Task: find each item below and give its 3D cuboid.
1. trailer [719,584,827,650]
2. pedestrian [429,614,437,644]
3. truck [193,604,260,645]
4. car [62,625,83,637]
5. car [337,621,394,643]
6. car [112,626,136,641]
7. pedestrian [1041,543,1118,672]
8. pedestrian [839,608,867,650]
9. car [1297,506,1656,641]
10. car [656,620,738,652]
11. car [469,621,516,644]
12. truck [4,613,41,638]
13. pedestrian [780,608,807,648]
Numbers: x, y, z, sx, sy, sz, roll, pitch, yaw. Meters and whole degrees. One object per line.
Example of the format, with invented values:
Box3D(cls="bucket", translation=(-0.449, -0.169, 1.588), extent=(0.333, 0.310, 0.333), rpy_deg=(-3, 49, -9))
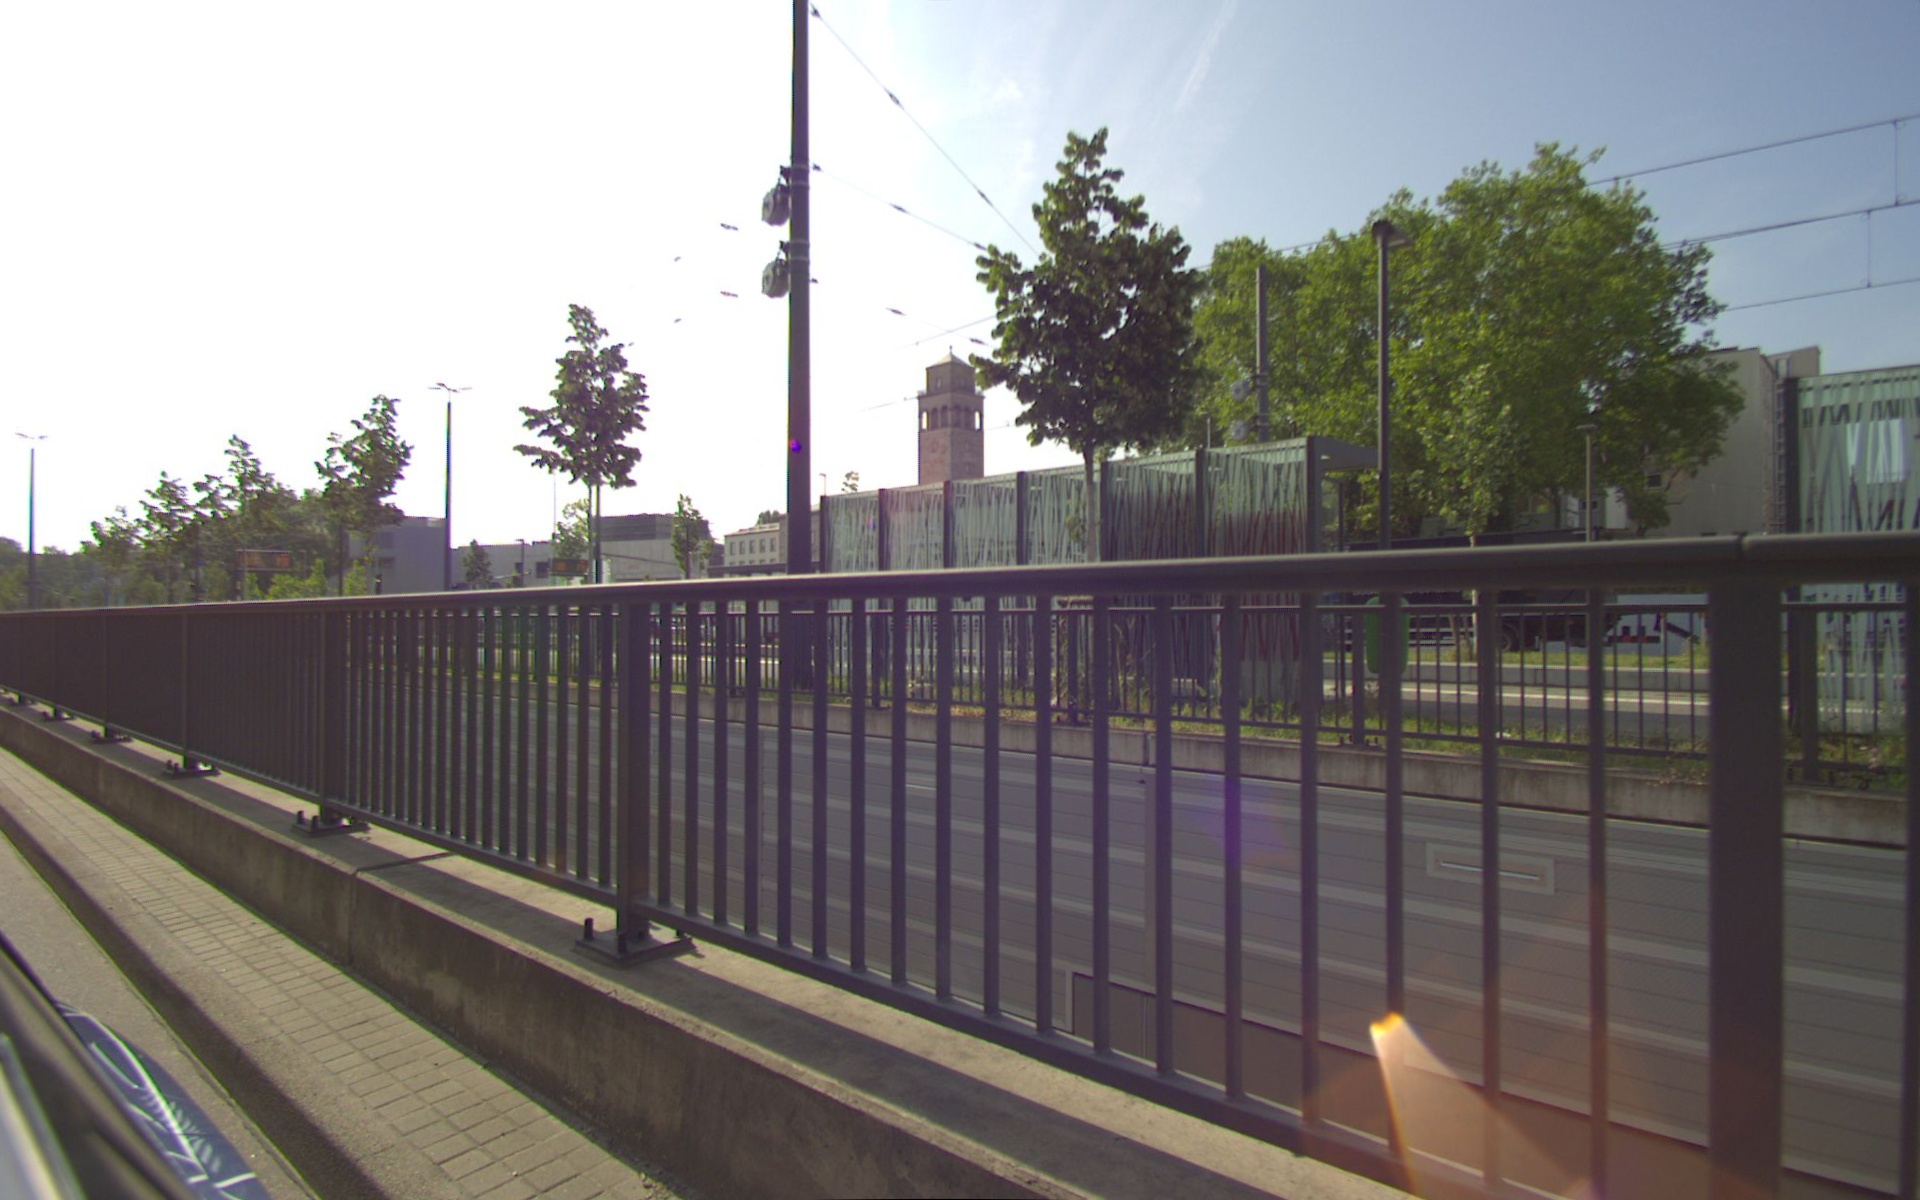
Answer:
Box3D(cls="trailer", translation=(-8.444, 0.760, 45.498), extent=(5.019, 2.802, 2.024), rpy_deg=(-1, 0, 41))
Box3D(cls="pedestrian", translation=(-29.715, 1.652, 57.072), extent=(0.365, 1.689, 0.642), rpy_deg=(0, -1, -32))
Box3D(cls="truck", translation=(-67.527, 2.281, 93.092), extent=(8.885, 3.614, 2.990), rpy_deg=(-2, -2, 41))
Box3D(cls="car", translation=(-123.786, 4.309, 141.164), extent=(3.996, 1.614, 1.623), rpy_deg=(-2, -2, 40))
Box3D(cls="car", translation=(-44.593, 2.362, 75.926), extent=(4.601, 1.594, 1.778), rpy_deg=(-1, -1, 32))
Box3D(cls="car", translation=(-101.963, 4.109, 123.482), extent=(4.517, 1.802, 1.598), rpy_deg=(-2, -2, 42))
Box3D(cls="pedestrian", translation=(1.574, 0.100, 13.355), extent=(0.710, 1.631, 0.728), rpy_deg=(-1, -1, 40))
Box3D(cls="pedestrian", translation=(-3.417, 0.925, 32.280), extent=(0.591, 1.310, 0.674), rpy_deg=(-2, -2, 38))
Box3D(cls="car", translation=(15.312, -0.619, 30.653), extent=(9.228, 3.539, 3.023), rpy_deg=(-1, -1, 41))
Box3D(cls="car", translation=(-12.810, 1.725, 49.114), extent=(4.400, 1.481, 1.626), rpy_deg=(-2, -2, 40))
Box3D(cls="car", translation=(-31.150, 2.158, 67.433), extent=(3.432, 1.474, 1.579), rpy_deg=(-1, -1, 42))
Box3D(cls="truck", translation=(-147.071, 4.046, 158.704), extent=(10.413, 3.838, 2.942), rpy_deg=(-2, -2, 40))
Box3D(cls="pedestrian", translation=(-5.583, 0.932, 33.891), extent=(0.591, 1.310, 0.674), rpy_deg=(-2, -2, 38))
